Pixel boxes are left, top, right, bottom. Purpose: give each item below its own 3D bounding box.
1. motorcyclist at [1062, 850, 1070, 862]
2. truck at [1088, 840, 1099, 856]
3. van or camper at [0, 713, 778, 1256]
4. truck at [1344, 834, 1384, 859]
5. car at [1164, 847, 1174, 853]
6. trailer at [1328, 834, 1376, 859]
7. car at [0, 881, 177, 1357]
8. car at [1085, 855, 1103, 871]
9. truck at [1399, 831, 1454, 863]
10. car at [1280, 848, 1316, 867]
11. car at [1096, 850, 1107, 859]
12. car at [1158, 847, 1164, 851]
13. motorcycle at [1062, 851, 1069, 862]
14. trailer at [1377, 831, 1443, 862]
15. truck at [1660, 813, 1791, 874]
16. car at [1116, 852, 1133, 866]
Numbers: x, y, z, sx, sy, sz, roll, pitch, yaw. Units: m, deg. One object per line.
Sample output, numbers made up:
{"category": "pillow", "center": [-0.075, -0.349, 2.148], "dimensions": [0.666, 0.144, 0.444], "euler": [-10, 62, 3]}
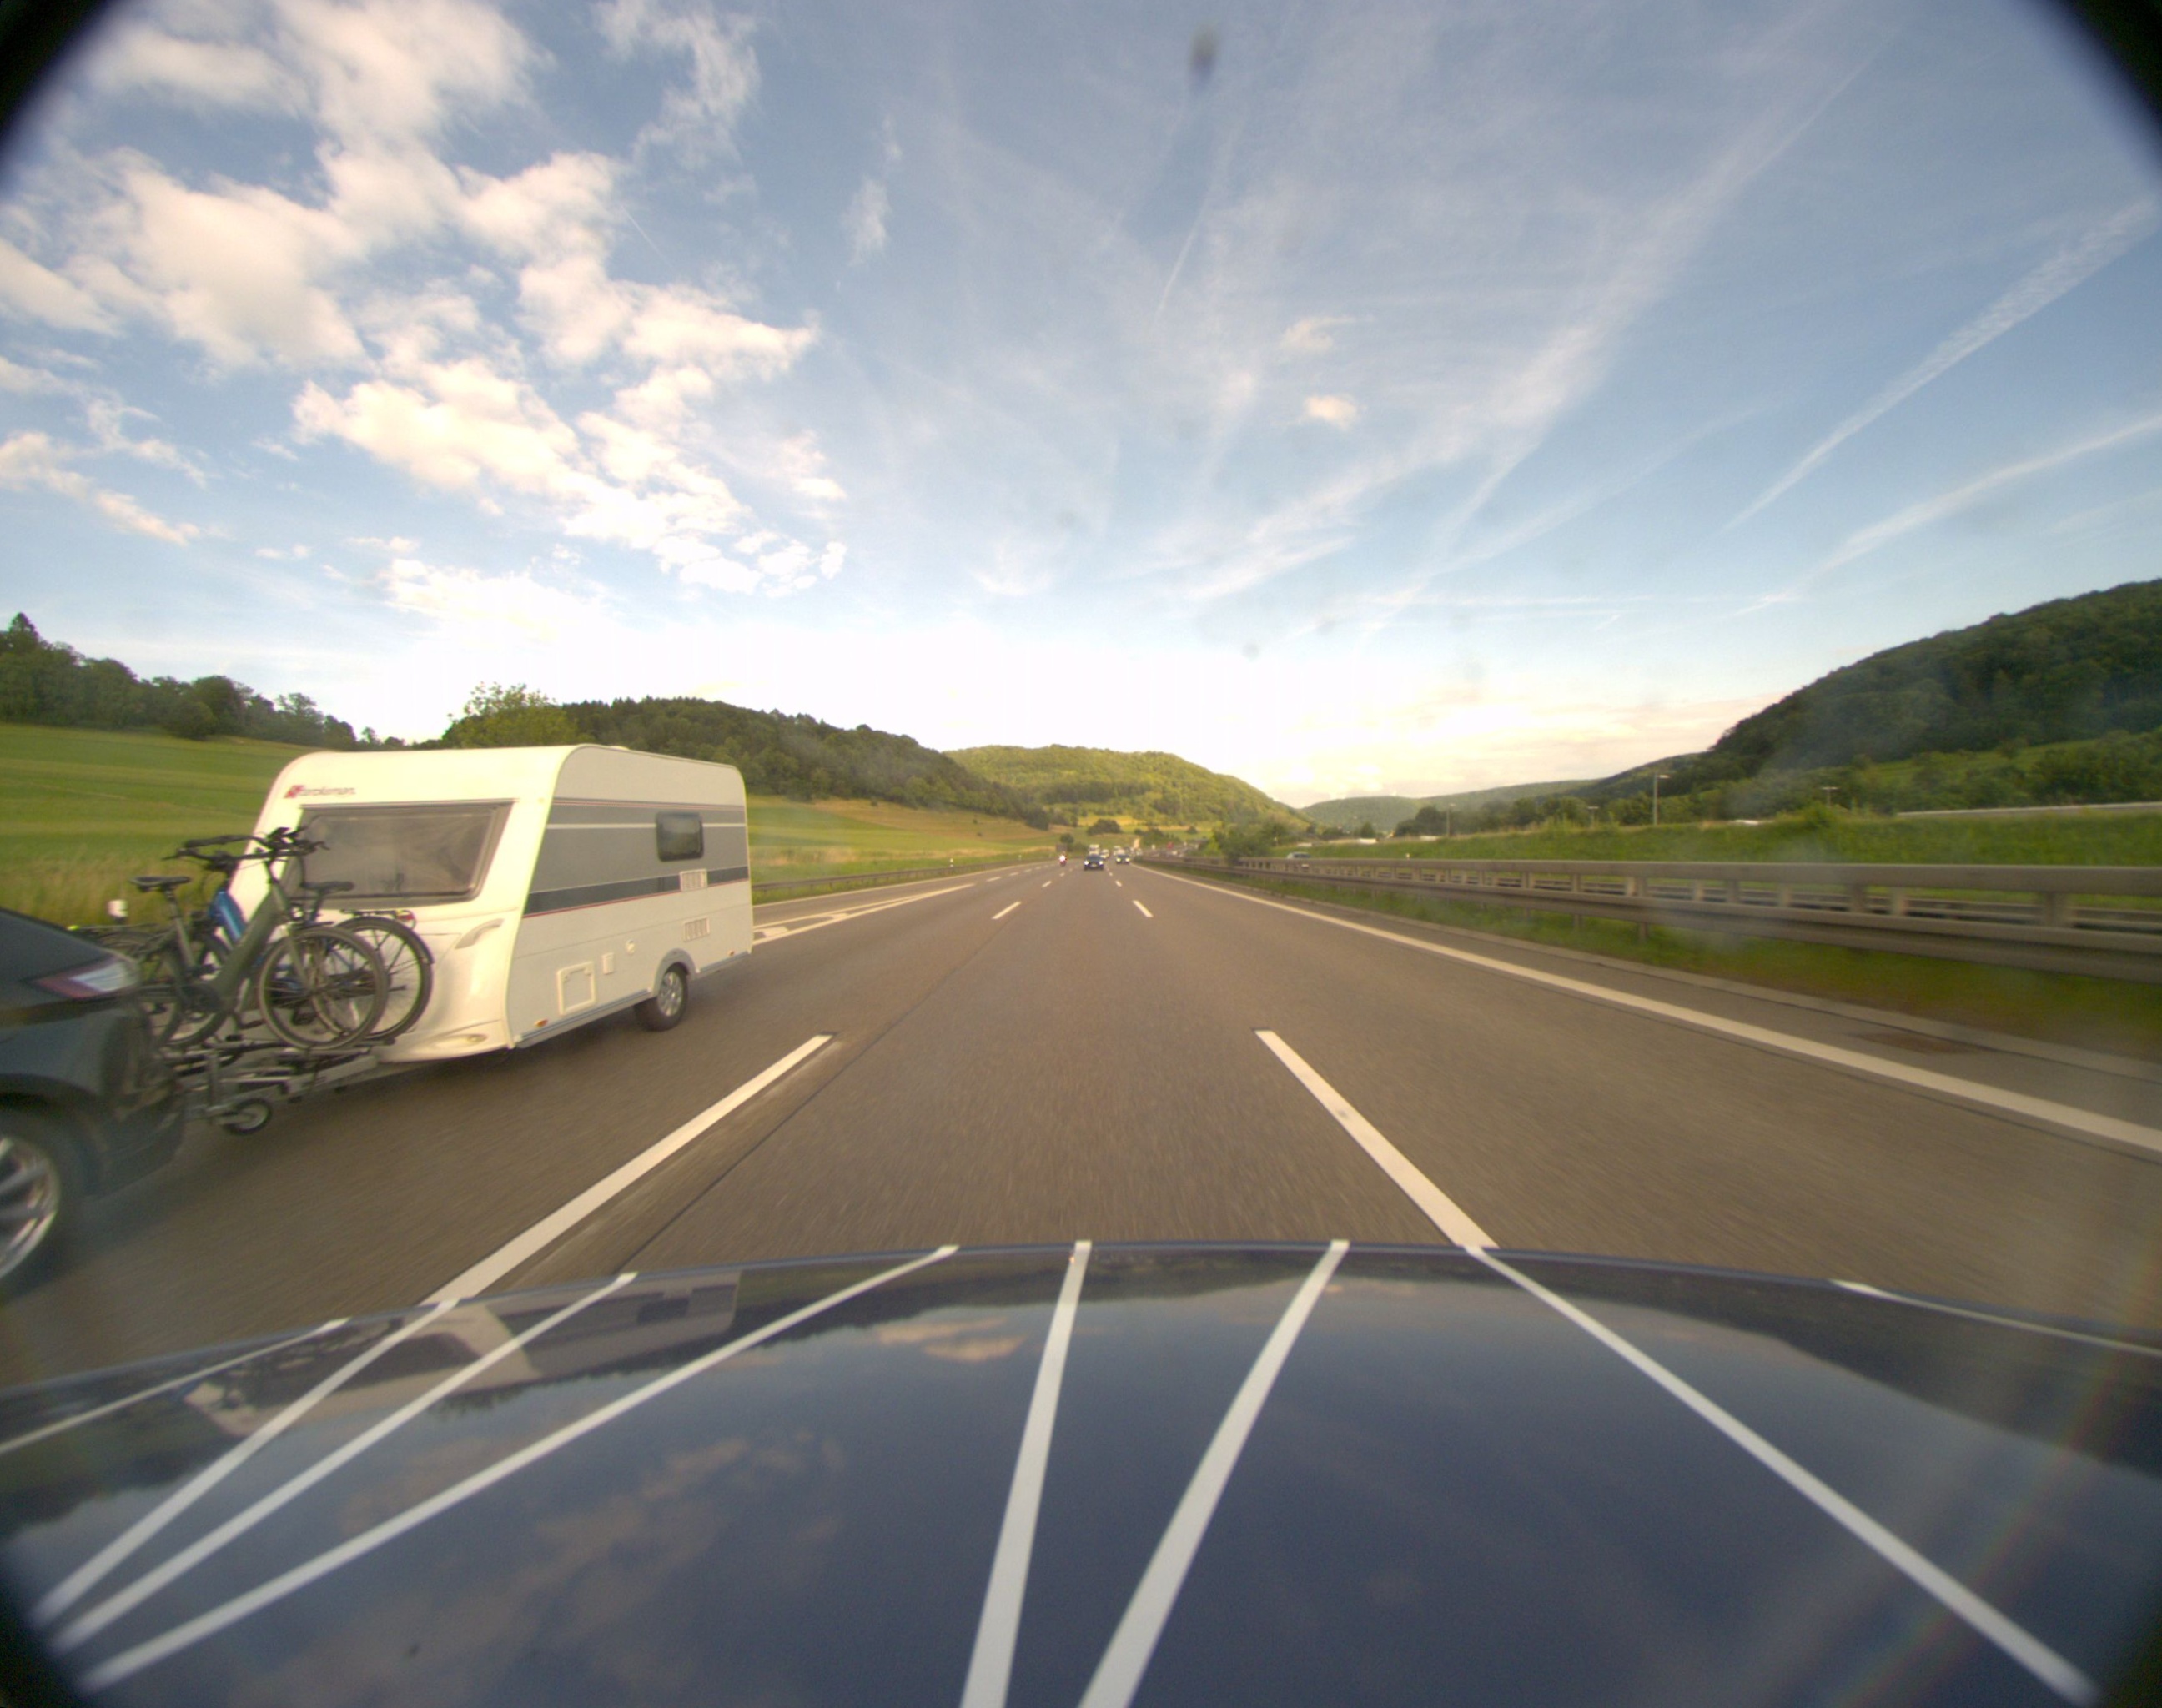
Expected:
{"category": "motorcyclist", "center": [-1.872, 0.236, 92.167], "dimensions": [0.878, 1.506, 0.797], "euler": [-1, 2, 4]}
{"category": "truck", "center": [3.553, -1.823, 210.518], "dimensions": [2.971, 3.970, 17.728], "euler": [0, 2, 2]}
{"category": "van or camper", "center": [-4.882, 0.647, 5.885], "dimensions": [2.554, 2.226, 5.331], "euler": [-4, -1, 3]}
{"category": "truck", "center": [43.127, -1.170, 116.023], "dimensions": [2.888, 3.669, 8.492], "euler": [1, 1, 1]}
{"category": "car", "center": [20.279, -0.957, 175.689], "dimensions": [1.956, 1.467, 3.872], "euler": [0, 1, 1]}
{"category": "trailer", "center": [43.153, -1.209, 121.601], "dimensions": [2.884, 3.675, 13.675], "euler": [0, 0, 0]}
{"category": "car", "center": [-4.707, 0.956, 0.923], "dimensions": [1.791, 1.643, 4.481], "euler": [-1, 0, 1]}
{"category": "car", "center": [1.208, 0.789, 70.428], "dimensions": [1.580, 1.310, 4.000], "euler": [-2, 1, 2]}
{"category": "truck", "center": [42.543, -0.919, 93.889], "dimensions": [2.888, 3.670, 8.491], "euler": [1, 1, 1]}
{"category": "car", "center": [17.064, 0.253, 60.017], "dimensions": [1.657, 1.455, 3.999], "euler": [1, 1, 0]}
{"category": "car", "center": [4.488, 0.008, 166.018], "dimensions": [1.997, 1.871, 4.001], "euler": [1, 1, 7]}
{"category": "car", "center": [27.646, -1.694, 261.056], "dimensions": [1.811, 1.604, 4.341], "euler": [1, 1, 3]}
{"category": "motorcycle", "center": [-1.900, 0.316, 92.153], "dimensions": [0.628, 1.331, 1.739], "euler": [1, 1, 5]}
{"category": "trailer", "center": [42.659, -1.026, 99.197], "dimensions": [2.884, 3.675, 13.674], "euler": [1, 1, 1]}
{"category": "truck", "center": [41.618, -0.664, 49.366], "dimensions": [2.888, 3.669, 6.591], "euler": [1, 1, 1]}
{"category": "car", "center": [6.412, 0.747, 111.465], "dimensions": [1.997, 1.871, 4.003], "euler": [1, 1, 10]}
